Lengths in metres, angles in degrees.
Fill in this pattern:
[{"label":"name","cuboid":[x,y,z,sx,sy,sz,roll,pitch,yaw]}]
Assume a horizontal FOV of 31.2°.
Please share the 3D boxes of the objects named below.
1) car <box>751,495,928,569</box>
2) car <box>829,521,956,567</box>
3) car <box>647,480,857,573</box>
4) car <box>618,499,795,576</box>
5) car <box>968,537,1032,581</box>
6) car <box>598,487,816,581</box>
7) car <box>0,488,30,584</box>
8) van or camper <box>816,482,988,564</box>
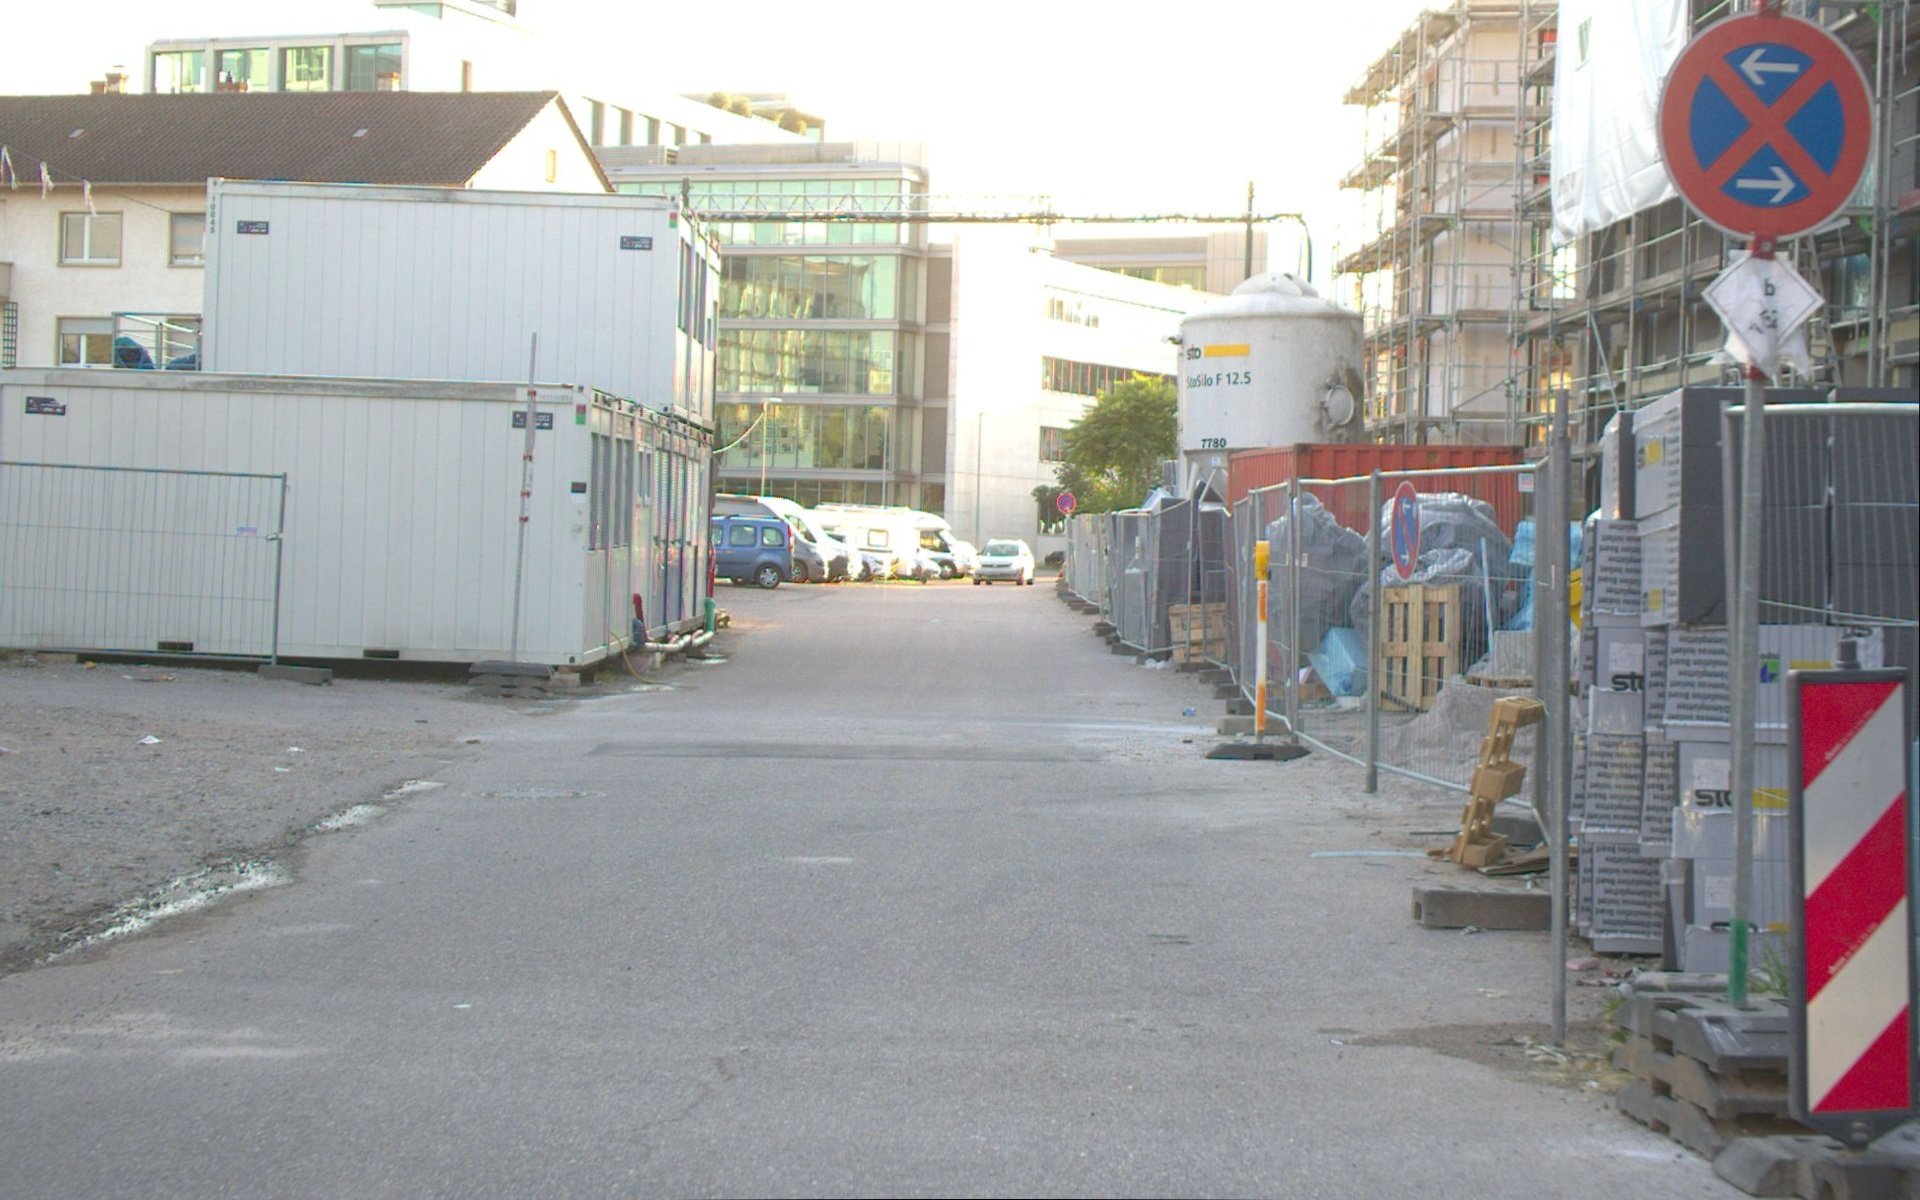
[{"label":"car","cuboid":[-4.276,-2.430,122.375,5.926,2.481,1.999,2,1,12]},{"label":"car","cuboid":[-2.553,-2.134,130.463,4.505,1.642,1.999,2,1,10]},{"label":"car","cuboid":[-6.446,-2.291,107.134,6.328,2.731,2.000,1,1,1]},{"label":"car","cuboid":[-6.599,-1.626,89.379,4.503,1.862,2.000,1,1,-5]},{"label":"car","cuboid":[1.435,-1.475,122.221,1.665,1.523,3.909,2,1,9]},{"label":"car","cuboid":[-7.571,-1.982,103.323,6.328,2.642,2.000,1,1,1]},{"label":"car","cuboid":[-17.729,-1.128,58.140,2.012,1.647,5.057,2,1,7]},{"label":"van or camper","cuboid":[-2.294,-3.043,136.122,6.336,2.968,2.291,2,1,13]}]
